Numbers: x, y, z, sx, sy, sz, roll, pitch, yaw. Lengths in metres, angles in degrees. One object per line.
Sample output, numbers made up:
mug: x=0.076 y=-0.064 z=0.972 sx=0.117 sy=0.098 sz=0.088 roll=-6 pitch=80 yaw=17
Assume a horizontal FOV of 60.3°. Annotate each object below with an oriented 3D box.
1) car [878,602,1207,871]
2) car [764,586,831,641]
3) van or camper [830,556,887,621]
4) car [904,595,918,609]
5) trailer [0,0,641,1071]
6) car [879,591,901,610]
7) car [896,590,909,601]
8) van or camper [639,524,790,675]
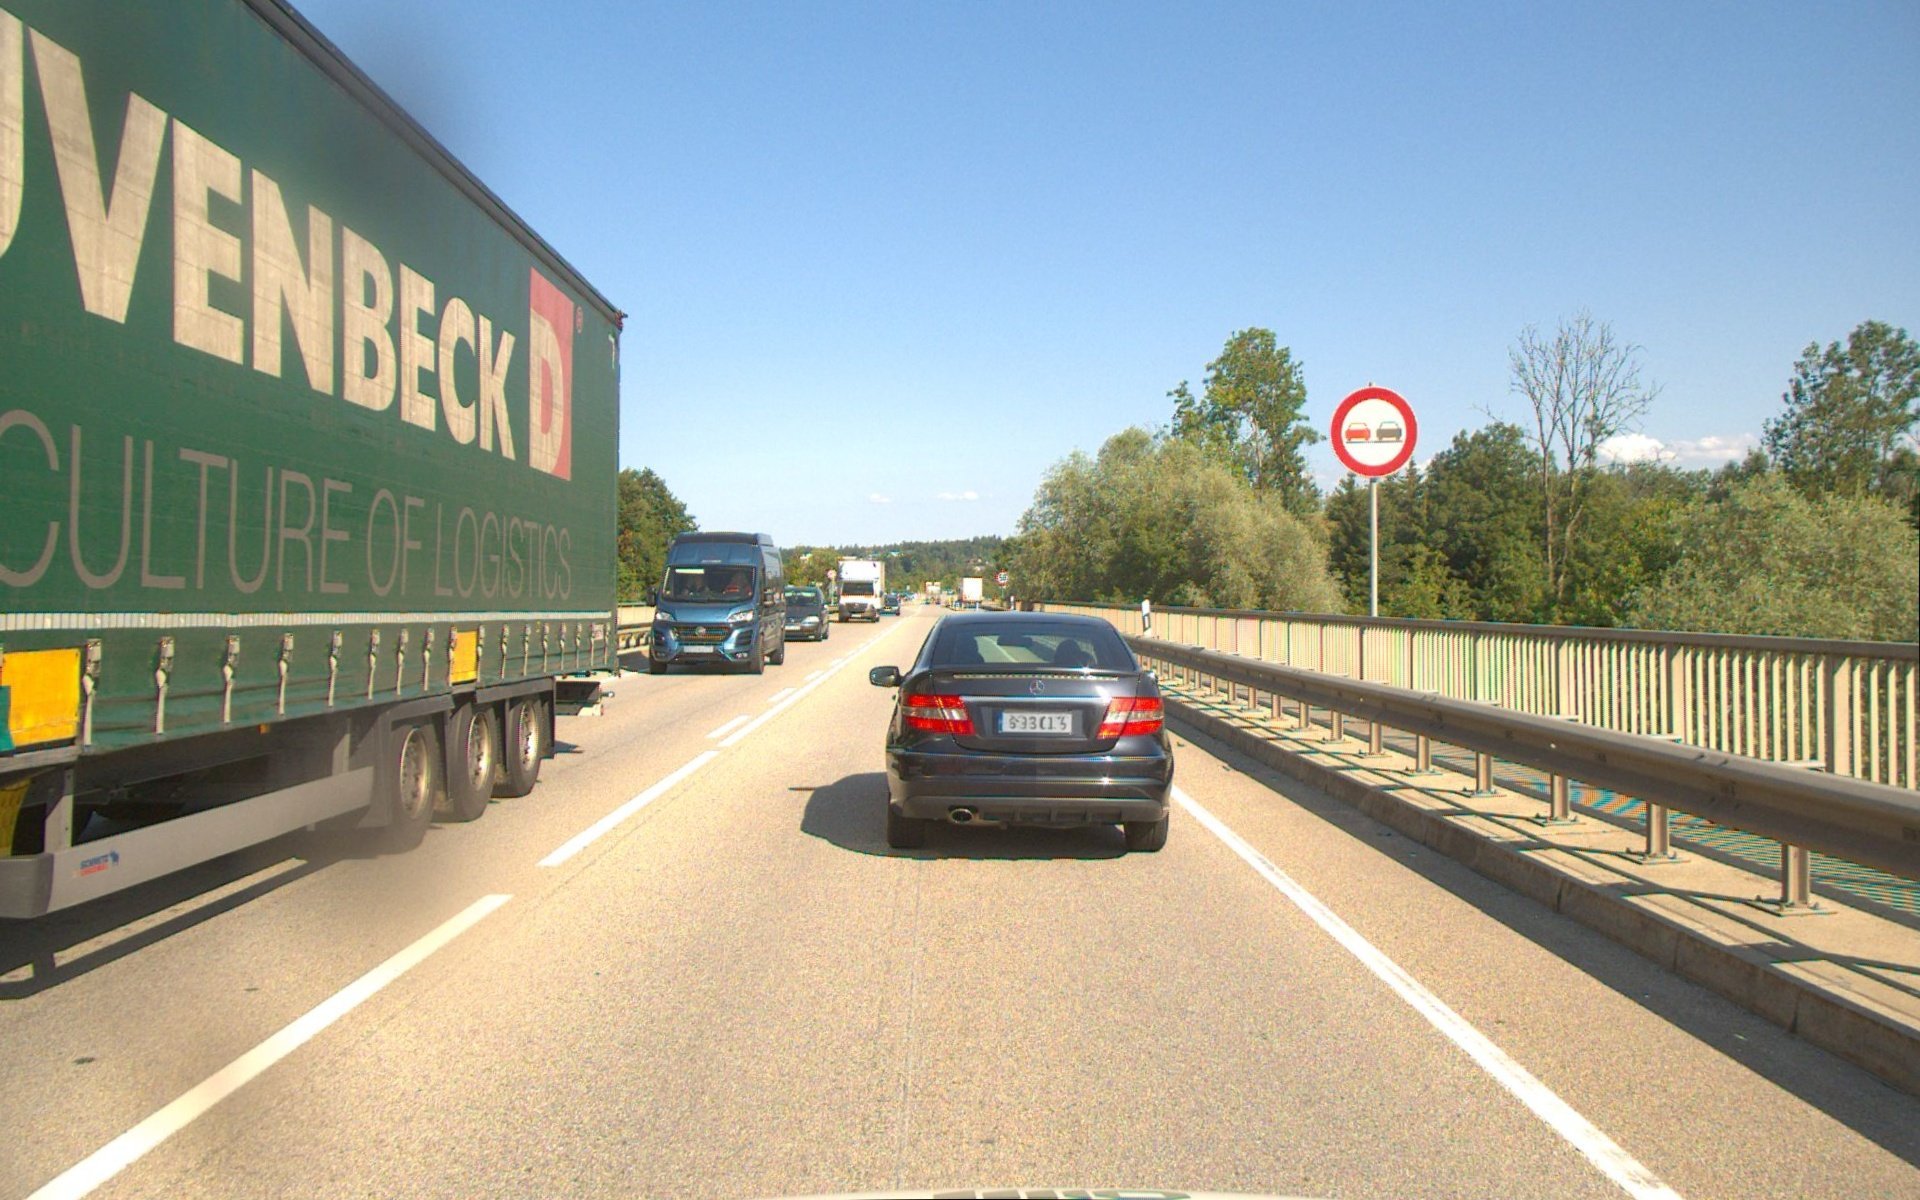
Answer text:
car: x=0.458 y=0.733 z=10.883 sx=1.756 sy=1.400 sz=4.000 roll=1 pitch=0 yaw=0
car: x=-5.132 y=0.409 z=52.776 sx=1.804 sy=1.670 sz=4.575 roll=1 pitch=0 yaw=-2
van or camper: x=-5.405 y=-0.621 z=89.273 sx=2.582 sy=3.313 sz=7.748 roll=1 pitch=0 yaw=0
car: x=-7.758 y=0.295 z=261.693 sx=1.953 sy=2.049 sz=4.000 roll=1 pitch=0 yaw=0
trailer: x=-4.333 y=-0.804 z=8.251 sx=2.848 sy=4.377 sz=14.300 roll=1 pitch=0 yaw=-1
car: x=-5.418 y=0.018 z=127.106 sx=1.627 sy=1.461 sz=4.185 roll=1 pitch=0 yaw=-4
car: x=-8.613 y=-0.717 z=247.603 sx=1.766 sy=1.634 sz=3.916 roll=1 pitch=0 yaw=1
van or camper: x=-4.723 y=-0.021 z=32.881 sx=2.382 sy=2.688 sz=6.400 roll=0 pitch=0 yaw=-3
